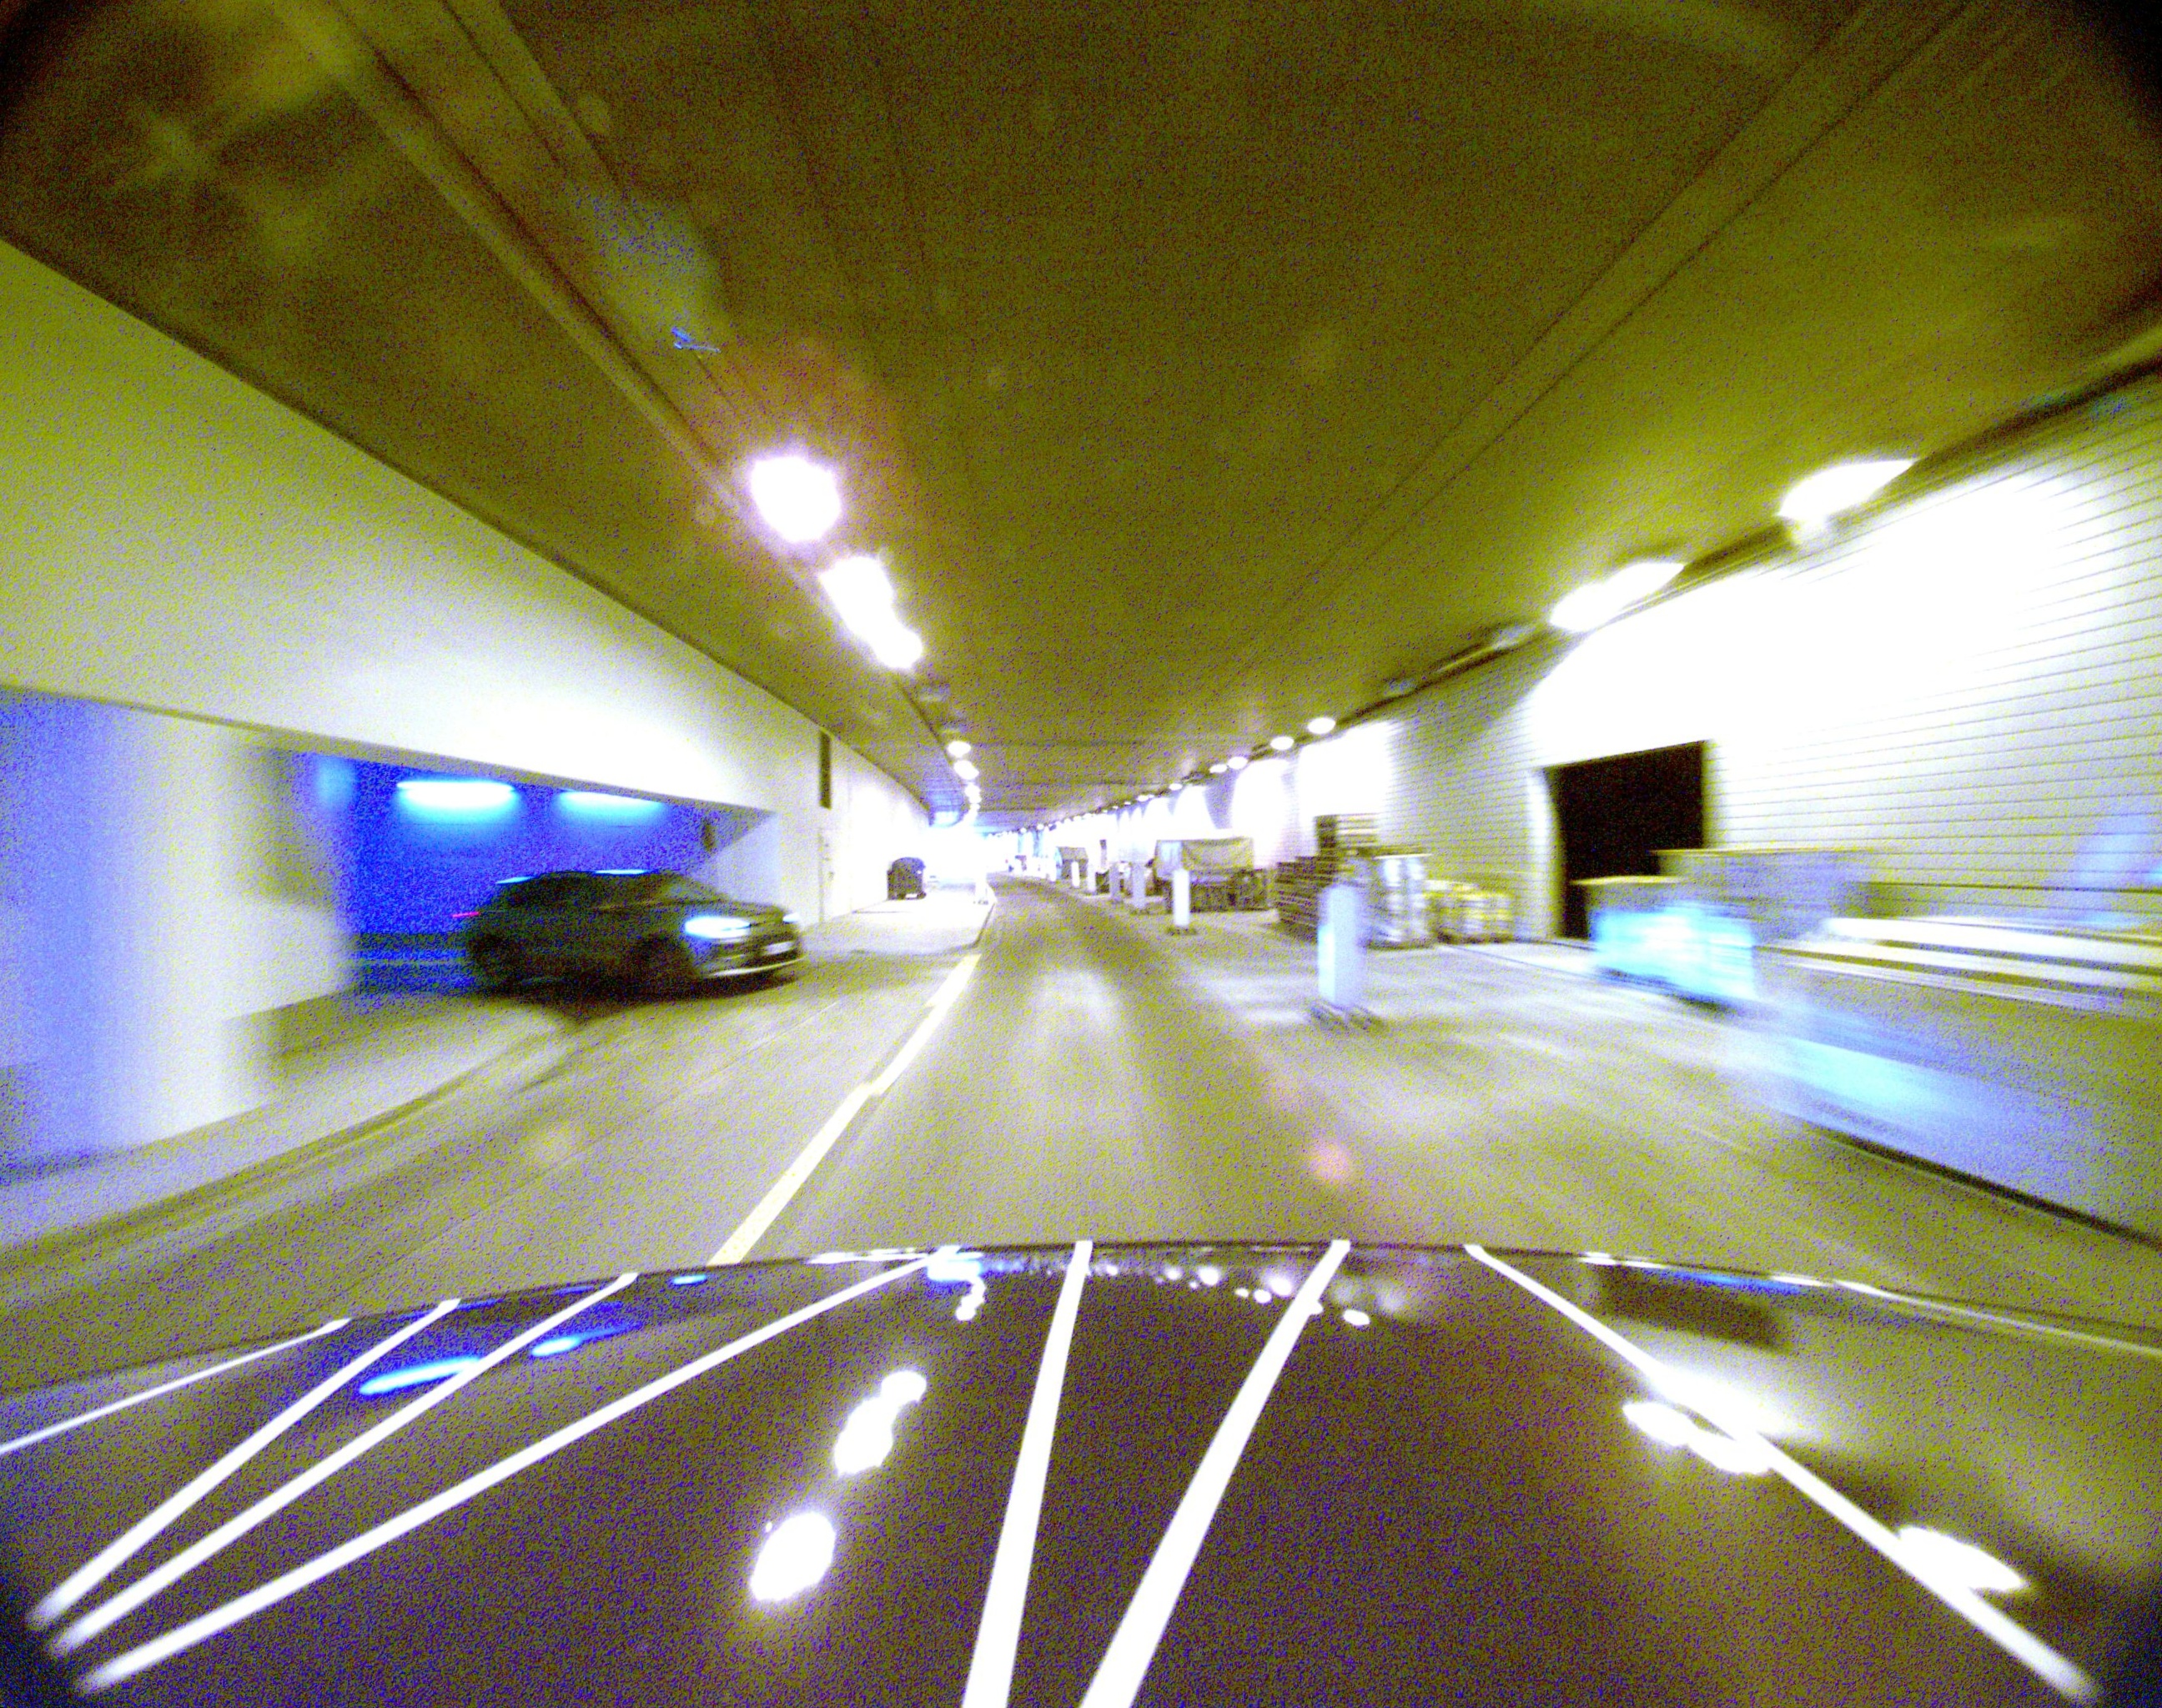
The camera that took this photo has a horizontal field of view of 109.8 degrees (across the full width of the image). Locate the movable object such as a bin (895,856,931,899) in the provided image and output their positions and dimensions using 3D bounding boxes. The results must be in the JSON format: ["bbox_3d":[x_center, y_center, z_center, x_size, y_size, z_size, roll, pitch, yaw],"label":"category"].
[{"bbox_3d":[-6.007,0.831,27.243,1.101,1.437,1.321,-2,1,-7],"label":"movable object such as a bin"}]

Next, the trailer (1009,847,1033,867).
[{"bbox_3d":[-5.782,0.273,73.170,1.645,1.781,3.118,-2,1,-16],"label":"trailer"}]

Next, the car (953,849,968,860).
[{"bbox_3d":[-19.295,0.094,121.665,2.001,1.743,3.994,-2,1,-14],"label":"car"}]

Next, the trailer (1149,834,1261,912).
[{"bbox_3d":[3.456,0.476,21.882,2.215,2.002,3.463,-2,1,-8],"label":"trailer"}]

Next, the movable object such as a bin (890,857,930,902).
[{"bbox_3d":[-5.797,0.848,25.835,1.149,1.437,1.363,-2,1,-7],"label":"movable object such as a bin"}]

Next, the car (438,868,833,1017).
[{"bbox_3d":[-5.608,1.031,9.716,4.232,1.537,1.900,-1,1,16],"label":"car"}]
